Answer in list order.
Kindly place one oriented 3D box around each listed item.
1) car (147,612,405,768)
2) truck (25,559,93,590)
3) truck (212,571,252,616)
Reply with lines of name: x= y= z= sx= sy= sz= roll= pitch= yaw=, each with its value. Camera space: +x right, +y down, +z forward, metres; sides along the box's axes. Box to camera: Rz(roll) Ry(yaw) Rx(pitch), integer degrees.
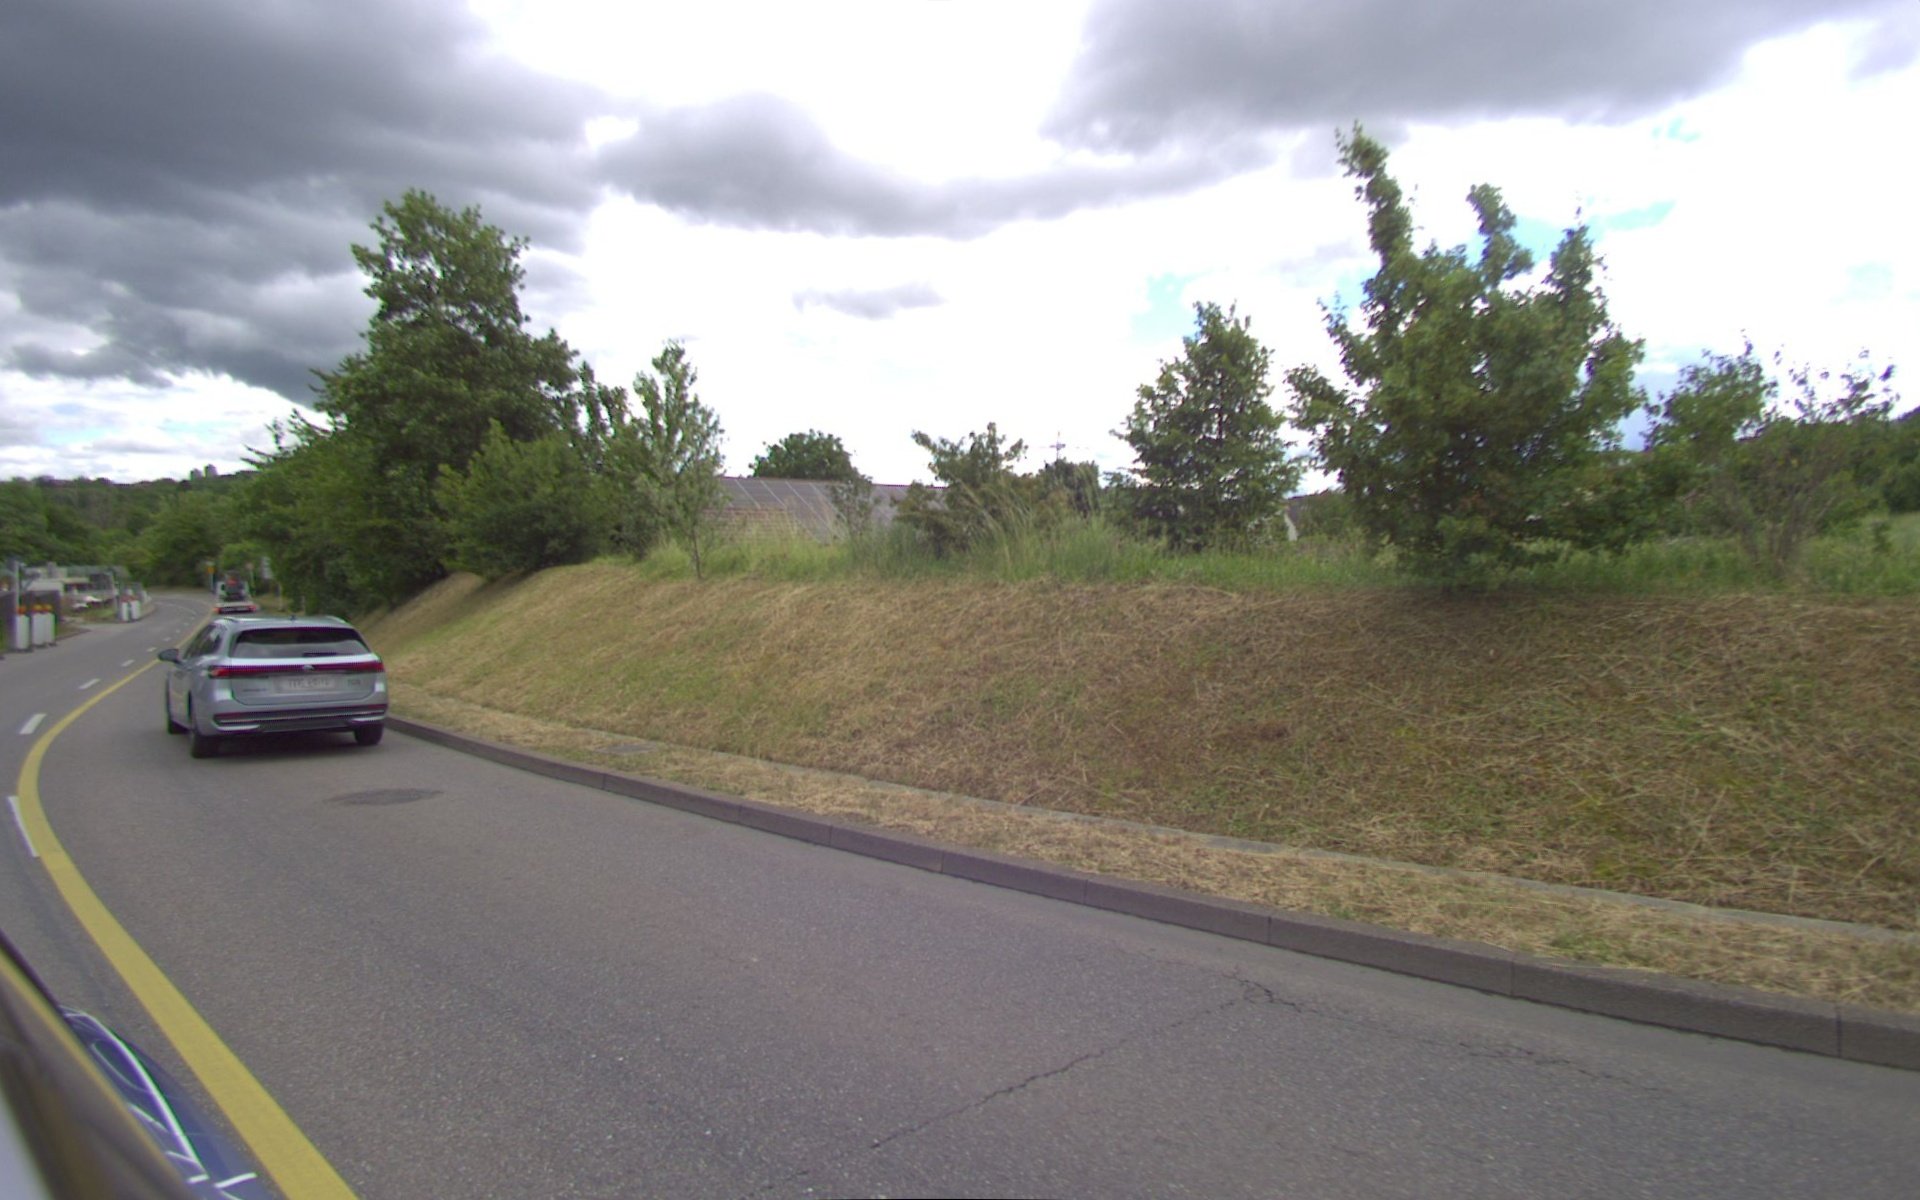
car: x=-8.225 y=0.942 z=11.977 sx=1.859 sy=1.489 sz=4.606 roll=1 pitch=-3 yaw=-43
truck: x=-98.410 y=-2.804 z=110.544 sx=7.570 sy=3.282 sz=2.737 roll=1 pitch=3 yaw=26
truck: x=-51.400 y=-0.387 z=71.516 sx=2.185 sy=3.037 sz=7.758 roll=1 pitch=-1 yaw=-35
